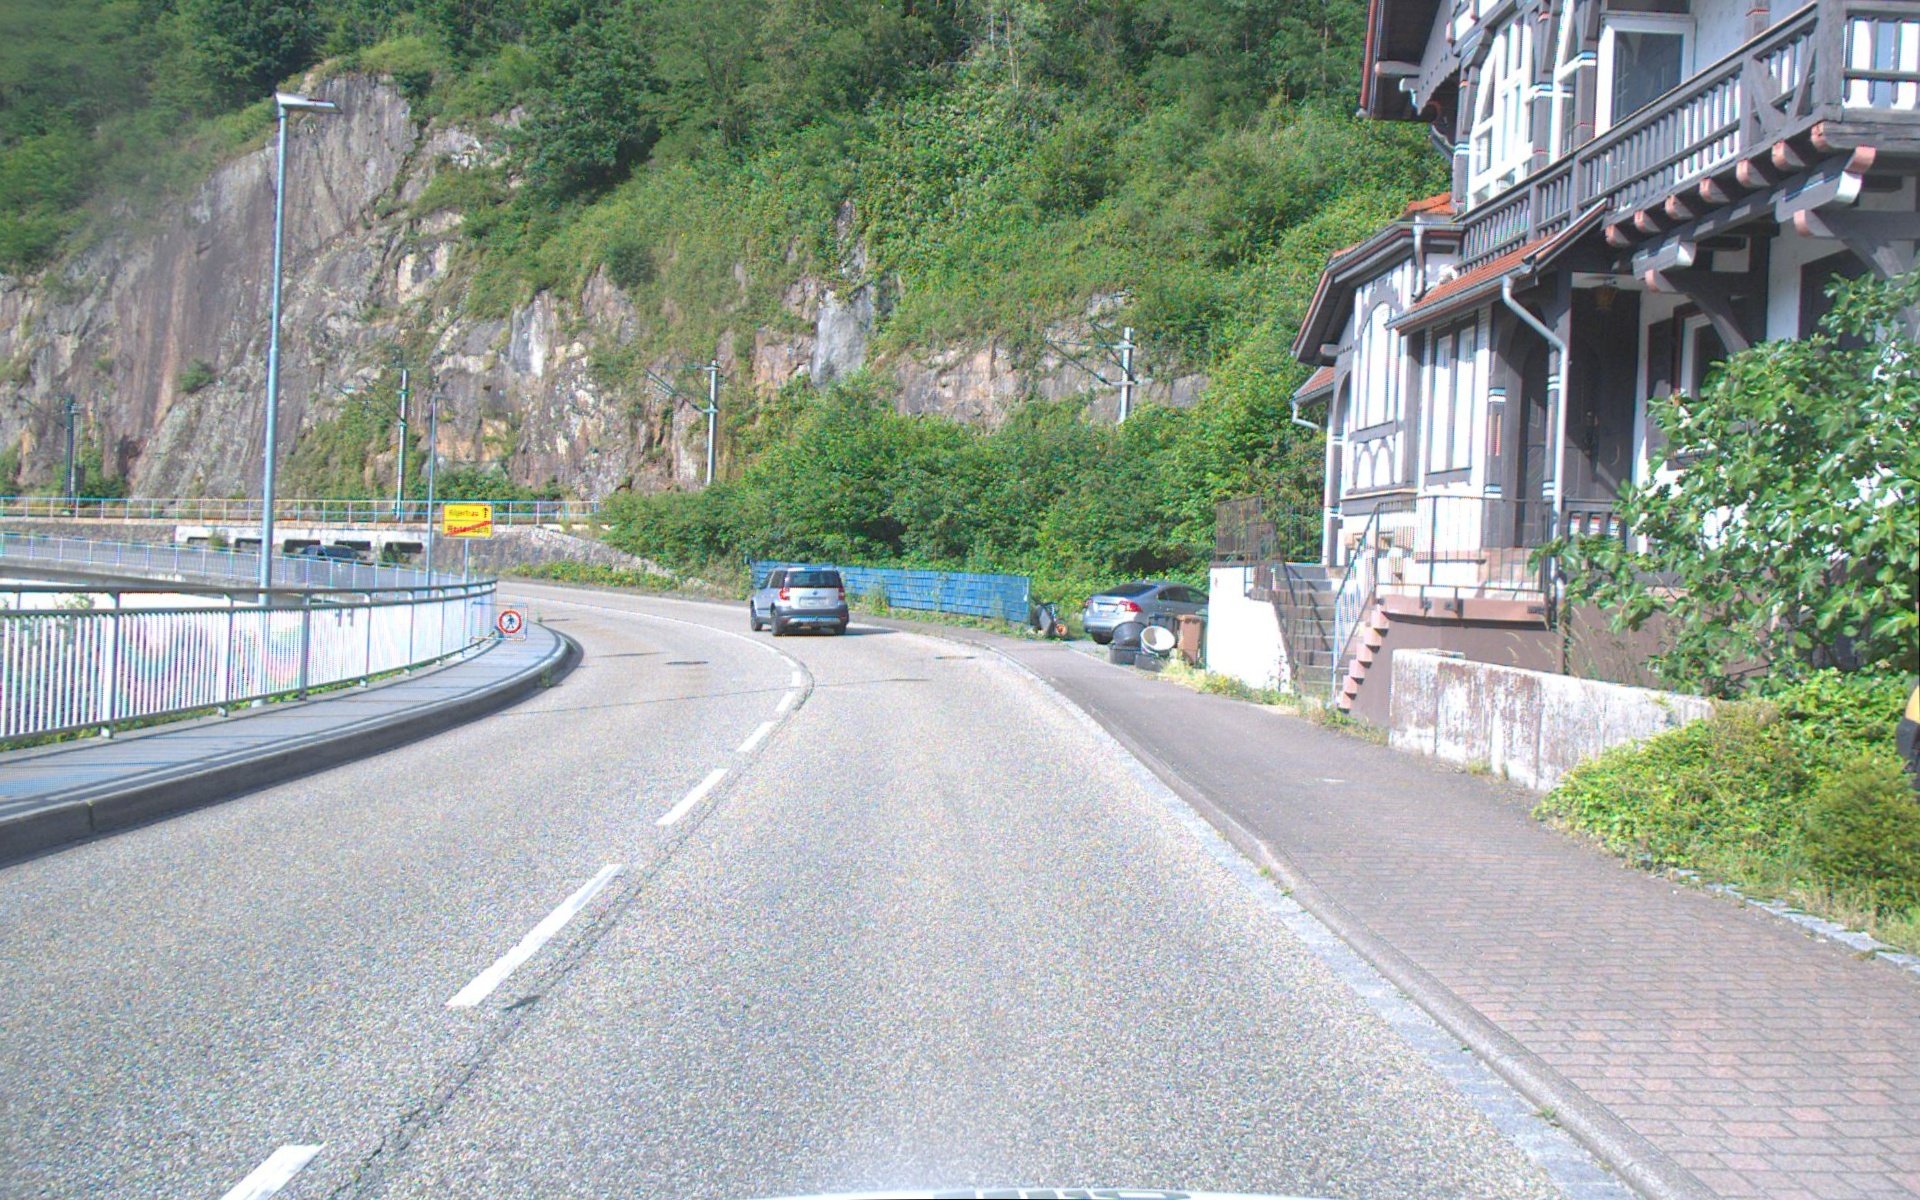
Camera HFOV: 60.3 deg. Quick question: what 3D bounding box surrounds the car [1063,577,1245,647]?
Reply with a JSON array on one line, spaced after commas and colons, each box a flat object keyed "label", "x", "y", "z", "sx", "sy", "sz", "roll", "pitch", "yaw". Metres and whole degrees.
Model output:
[{"label": "car", "x": 4.465, "y": 0.284, "z": 37.654, "sx": 4.295, "sy": 1.495, "sz": 1.808, "roll": 1, "pitch": 0, "yaw": -44}]

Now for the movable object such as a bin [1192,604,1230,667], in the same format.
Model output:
[{"label": "movable object such as a bin", "x": 4.501, "y": 0.634, "z": 29.675, "sx": 0.468, "sy": 1.081, "sz": 0.752, "roll": 3, "pitch": 1, "yaw": -5}]

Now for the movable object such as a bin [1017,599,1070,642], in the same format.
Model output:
[{"label": "movable object such as a bin", "x": 1.935, "y": 0.464, "z": 38.723, "sx": 0.838, "sy": 0.862, "sz": 2.536, "roll": 3, "pitch": 1, "yaw": -5}]

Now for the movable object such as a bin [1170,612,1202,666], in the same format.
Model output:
[{"label": "movable object such as a bin", "x": 4.051, "y": 0.699, "z": 29.685, "sx": 0.361, "sy": 0.915, "sz": 0.546, "roll": 3, "pitch": 1, "yaw": -12}]

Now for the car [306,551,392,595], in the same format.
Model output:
[{"label": "car", "x": -24.736, "y": -1.090, "z": 66.928, "sx": 1.808, "sy": 1.672, "sz": 3.935, "roll": 2, "pitch": 0, "yaw": -44}]

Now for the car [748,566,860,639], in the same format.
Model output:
[{"label": "car", "x": -3.832, "y": 0.023, "z": 39.978, "sx": 1.844, "sy": 1.684, "sz": 3.979, "roll": -1, "pitch": 1, "yaw": -19}]

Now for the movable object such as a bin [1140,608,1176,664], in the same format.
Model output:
[{"label": "movable object such as a bin", "x": 3.560, "y": 0.649, "z": 29.775, "sx": 0.462, "sy": 0.953, "sz": 0.652, "roll": 3, "pitch": 1, "yaw": -5}]

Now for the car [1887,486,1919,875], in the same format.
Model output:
[{"label": "car", "x": 5.981, "y": 0.459, "z": 6.523, "sx": 1.870, "sy": 2.032, "sz": 4.834, "roll": 1, "pitch": 1, "yaw": -1}]
